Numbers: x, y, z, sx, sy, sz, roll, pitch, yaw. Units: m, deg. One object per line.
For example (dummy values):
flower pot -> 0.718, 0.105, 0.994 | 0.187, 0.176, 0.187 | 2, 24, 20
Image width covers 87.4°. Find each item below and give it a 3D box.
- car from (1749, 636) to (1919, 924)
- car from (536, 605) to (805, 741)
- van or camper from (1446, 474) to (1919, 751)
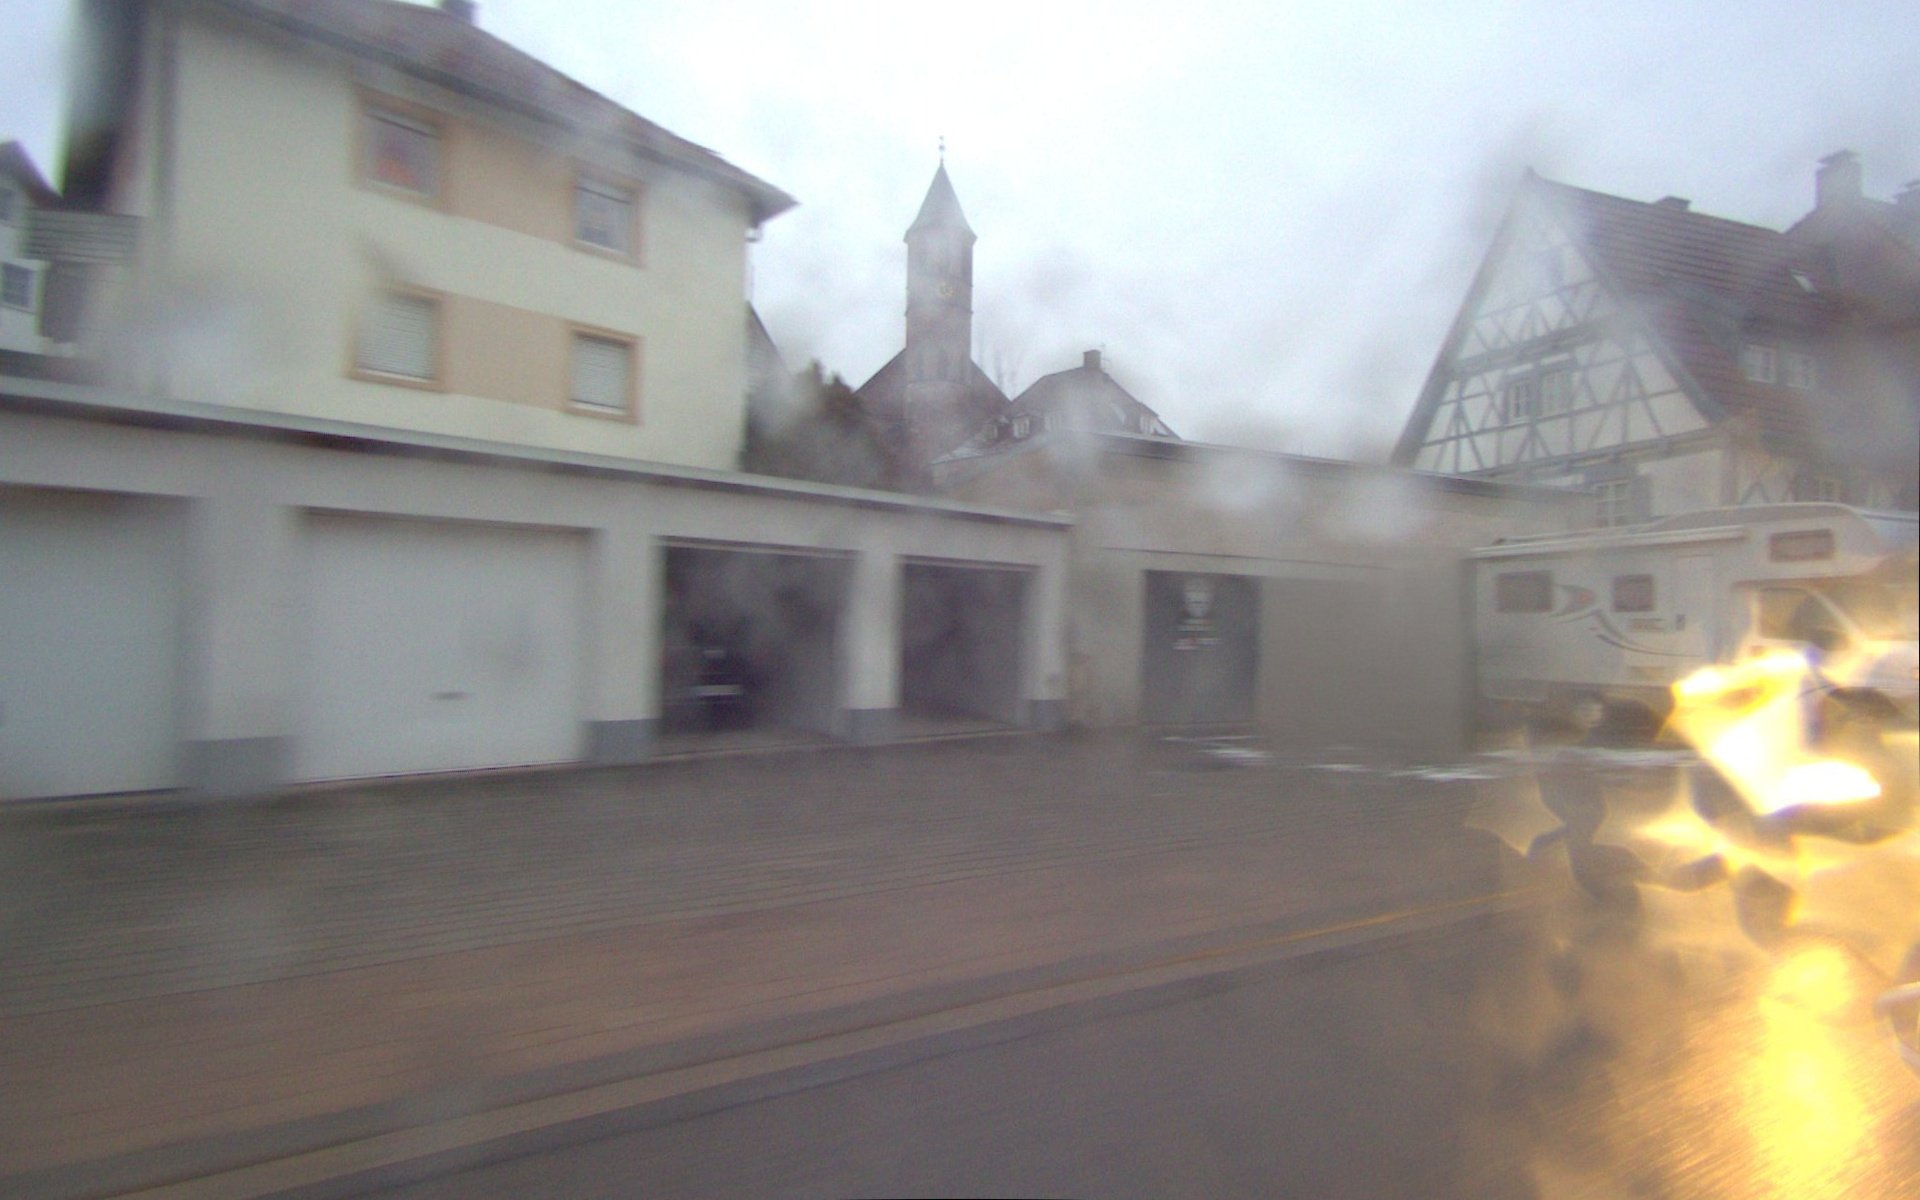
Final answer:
car -> 6.780, 0.949, 5.905 | 4.313, 1.420, 1.860 | 1, -1, -29
car -> -3.781, 0.788, 12.689 | 1.982, 1.421, 3.957 | 1, -1, -37
van or camper -> 10.233, 0.323, 14.073 | 2.373, 2.993, 6.047 | 1, -4, -24
